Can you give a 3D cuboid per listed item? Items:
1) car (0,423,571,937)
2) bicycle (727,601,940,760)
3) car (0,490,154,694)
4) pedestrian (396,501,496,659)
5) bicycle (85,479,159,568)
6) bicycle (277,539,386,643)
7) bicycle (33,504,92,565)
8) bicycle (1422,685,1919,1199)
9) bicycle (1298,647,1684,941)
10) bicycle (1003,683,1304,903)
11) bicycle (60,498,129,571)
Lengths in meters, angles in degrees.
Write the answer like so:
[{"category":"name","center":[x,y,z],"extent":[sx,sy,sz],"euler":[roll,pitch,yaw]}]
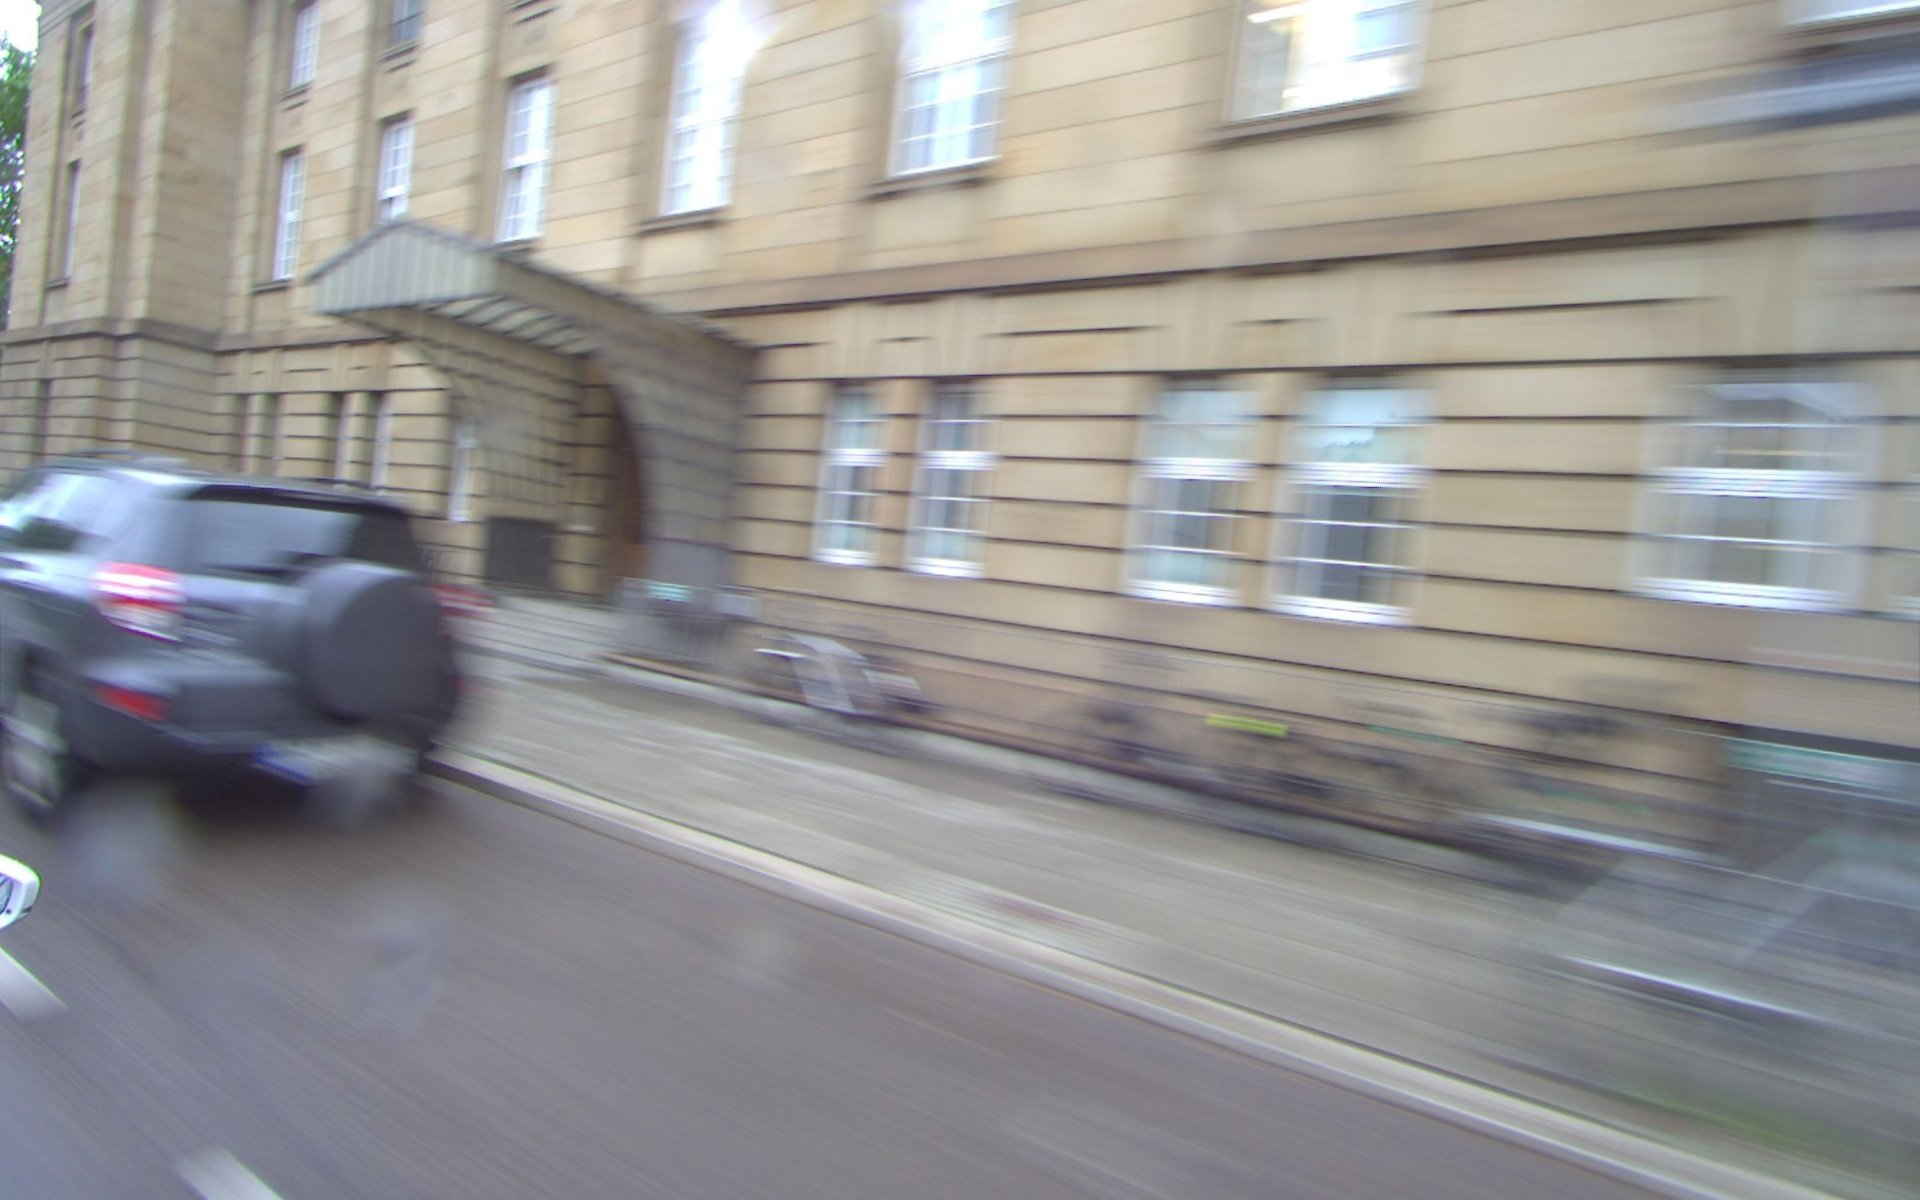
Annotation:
[{"category":"car","center":[-4.321,0.179,5.512],"extent":[4.122,1.803,1.994],"euler":[6,0,35]},{"category":"bicycle","center":[-1.078,0.631,8.330],"extent":[1.732,1.051,0.583],"euler":[6,0,36]},{"category":"car","center":[-8.602,-0.225,8.295],"extent":[3.643,1.496,1.933],"euler":[6,0,33]},{"category":"pedestrian","center":[-6.168,-0.238,12.083],"extent":[0.631,1.802,0.794],"euler":[7,4,33]},{"category":"bicycle","center":[-15.955,-1.462,19.146],"extent":[1.573,1.533,0.454],"euler":[7,-1,31]},{"category":"bicycle","center":[-8.563,-0.133,13.683],"extent":[1.663,1.230,0.464],"euler":[6,0,31]},{"category":"bicycle","center":[-17.818,-1.316,19.960],"extent":[1.760,1.094,0.352],"euler":[6,2,32]},{"category":"bicycle","center":[2.596,1.030,3.148],"extent":[1.929,1.235,0.777],"euler":[6,2,22]},{"category":"bicycle","center":[2.962,1.010,5.774],"extent":[1.728,1.285,0.731],"euler":[6,1,28]},{"category":"bicycle","center":[1.257,1.188,6.610],"extent":[1.710,1.064,0.713],"euler":[6,0,28]},{"category":"bicycle","center":[-16.956,-1.293,19.698],"extent":[1.573,1.266,0.454],"euler":[7,-1,31]}]
